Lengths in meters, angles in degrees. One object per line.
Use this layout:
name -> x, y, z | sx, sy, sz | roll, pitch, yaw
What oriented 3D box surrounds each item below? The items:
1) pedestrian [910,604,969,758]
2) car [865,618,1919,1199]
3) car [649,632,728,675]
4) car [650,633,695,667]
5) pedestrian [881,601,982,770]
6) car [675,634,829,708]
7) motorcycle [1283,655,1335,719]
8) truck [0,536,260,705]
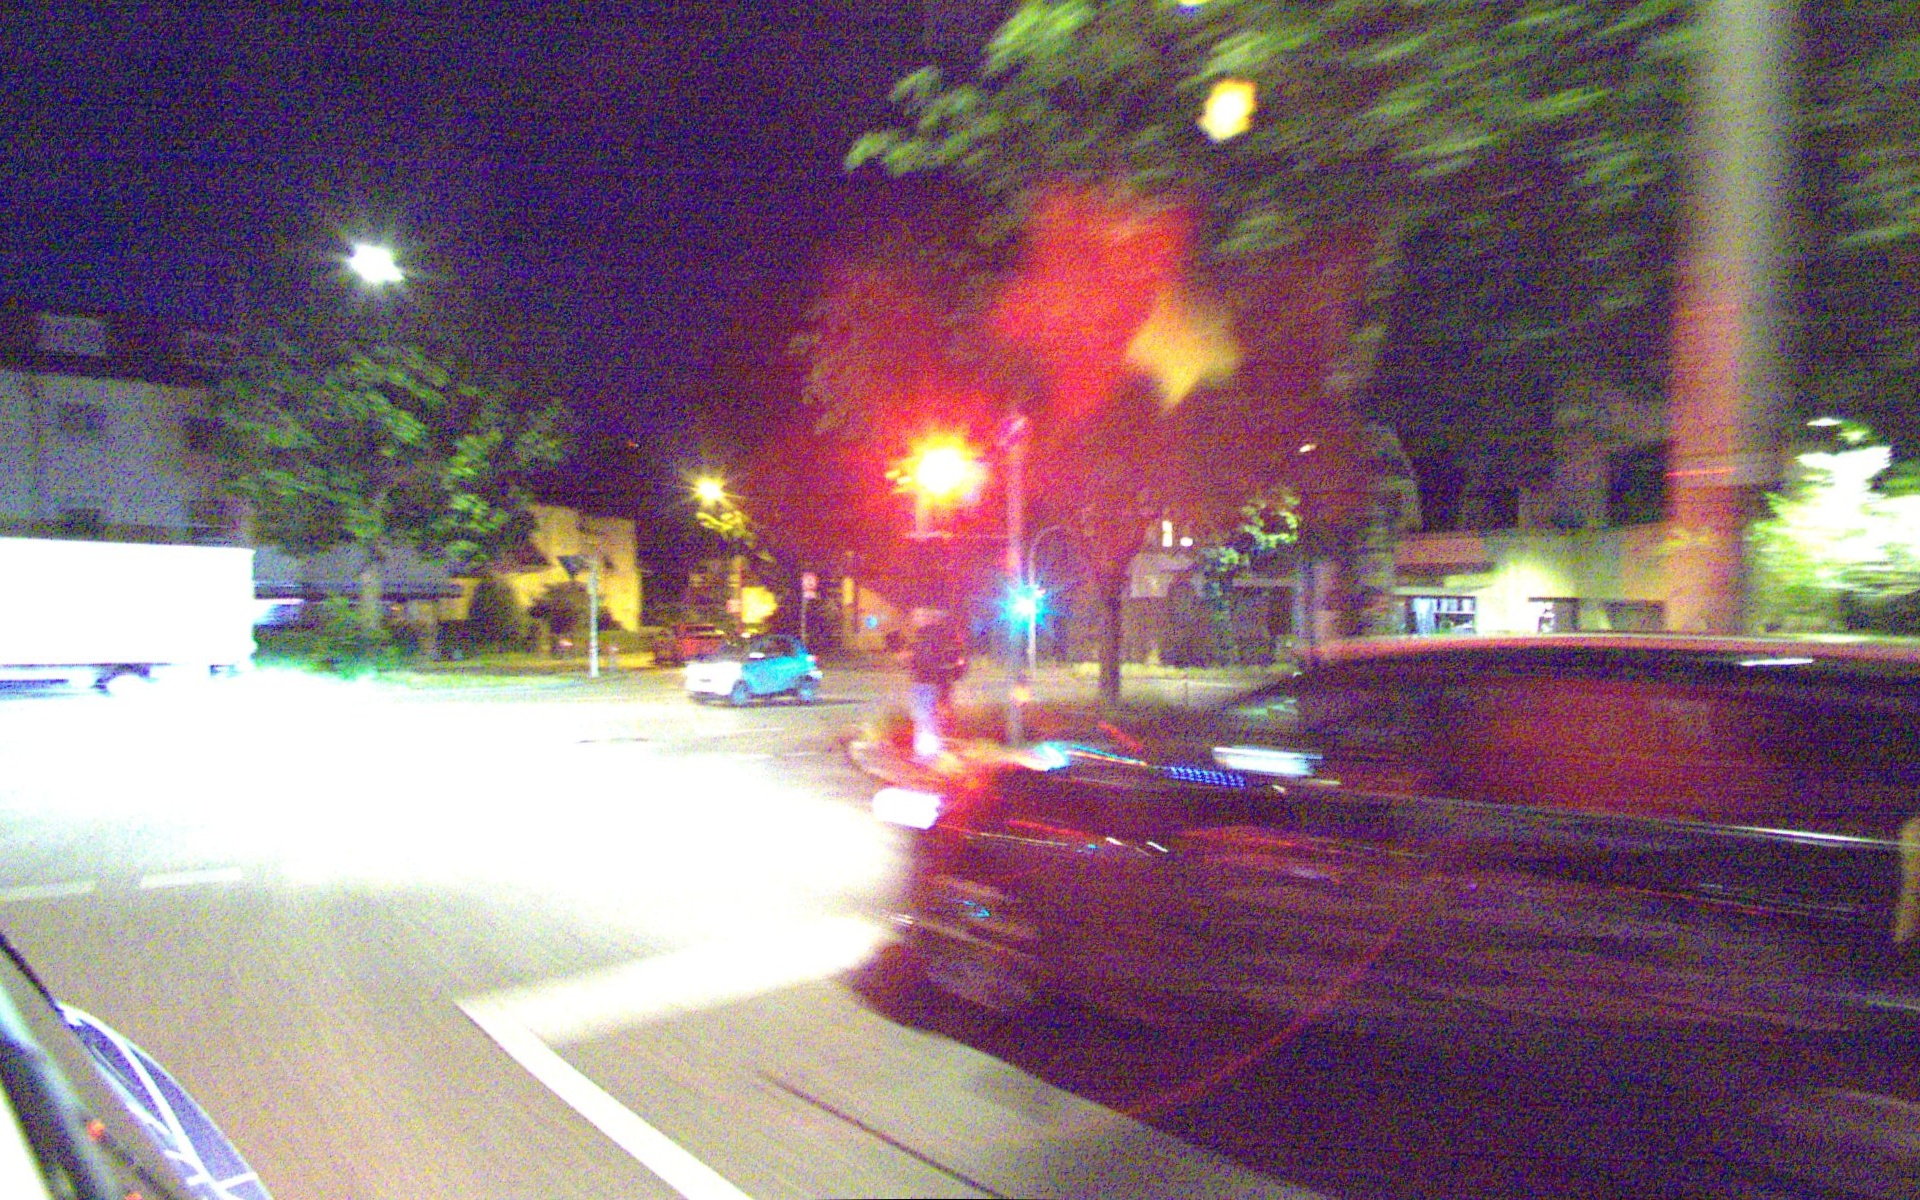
pedestrian -> -0.256, 0.971, 12.321 | 0.514, 1.806, 0.695 | 1, -3, -19
car -> 1.741, 0.784, 3.213 | 4.291, 1.440, 1.706 | -1, -1, 44
car -> -10.729, 2.054, 39.777 | 2.018, 1.567, 4.268 | 1, -2, -29
car -> -12.837, 2.195, 45.365 | 1.848, 1.398, 4.088 | 0, -2, -15
pedestrian -> -0.330, 0.930, 11.274 | 0.716, 1.783, 0.968 | 2, -4, -34
car -> -4.520, 1.525, 22.238 | 1.514, 1.513, 3.006 | -3, -4, 43
motorcycle -> 7.240, 1.780, 21.054 | 0.611, 1.239, 2.035 | 0, -2, 7
truck -> -17.995, 0.345, 19.721 | 6.922, 3.067, 2.779 | 2, 0, -38
